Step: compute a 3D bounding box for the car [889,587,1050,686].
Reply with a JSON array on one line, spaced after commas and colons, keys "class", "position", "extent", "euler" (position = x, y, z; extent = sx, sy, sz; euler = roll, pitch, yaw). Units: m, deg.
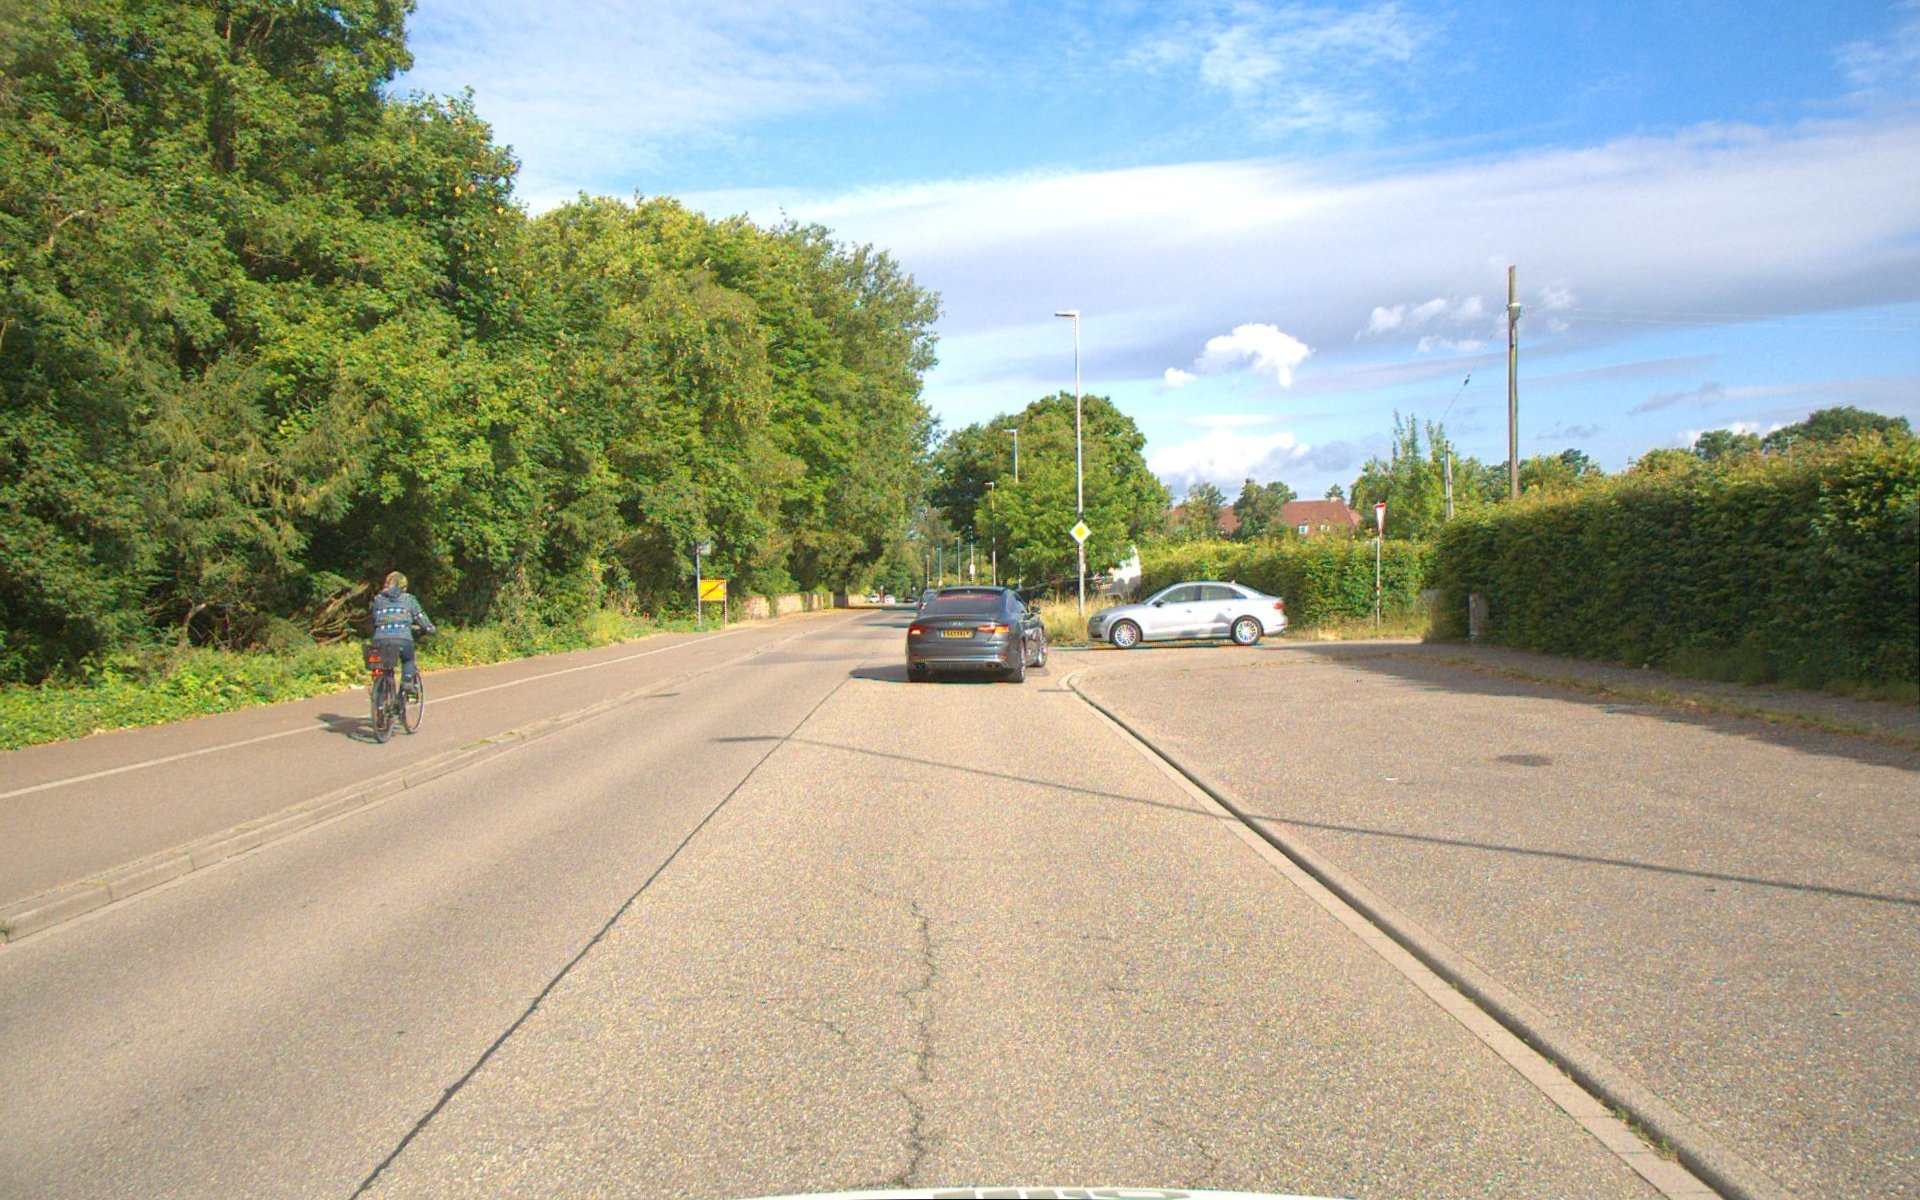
[{"class": "car", "position": [0.242, 0.525, 26.472], "extent": [1.924, 1.459, 4.340], "euler": [0, 0, 9]}]

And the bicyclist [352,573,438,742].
[{"class": "bicyclist", "position": [-5.857, 0.578, 17.187], "extent": [0.596, 1.706, 0.883], "euler": [0, 0, -1]}]

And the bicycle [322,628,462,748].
[{"class": "bicycle", "position": [-5.865, 0.874, 17.232], "extent": [0.649, 1.116, 2.348], "euler": [1, 0, 0]}]

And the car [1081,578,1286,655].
[{"class": "car", "position": [4.849, 0.369, 36.233], "extent": [4.270, 1.468, 1.934], "euler": [-2, -1, 5]}]

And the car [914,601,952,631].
[{"class": "car", "position": [-1.415, 0.797, 85.457], "extent": [1.848, 1.490, 4.053], "euler": [-1, 0, -2]}]

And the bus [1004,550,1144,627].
[{"class": "bus", "position": [4.511, -0.458, 66.098], "extent": [5.259, 2.794, 2.067], "euler": [-3, 1, -4]}]

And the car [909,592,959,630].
[{"class": "car", "position": [-1.049, 0.414, 64.855], "extent": [1.848, 1.396, 4.053], "euler": [-1, 0, -2]}]
